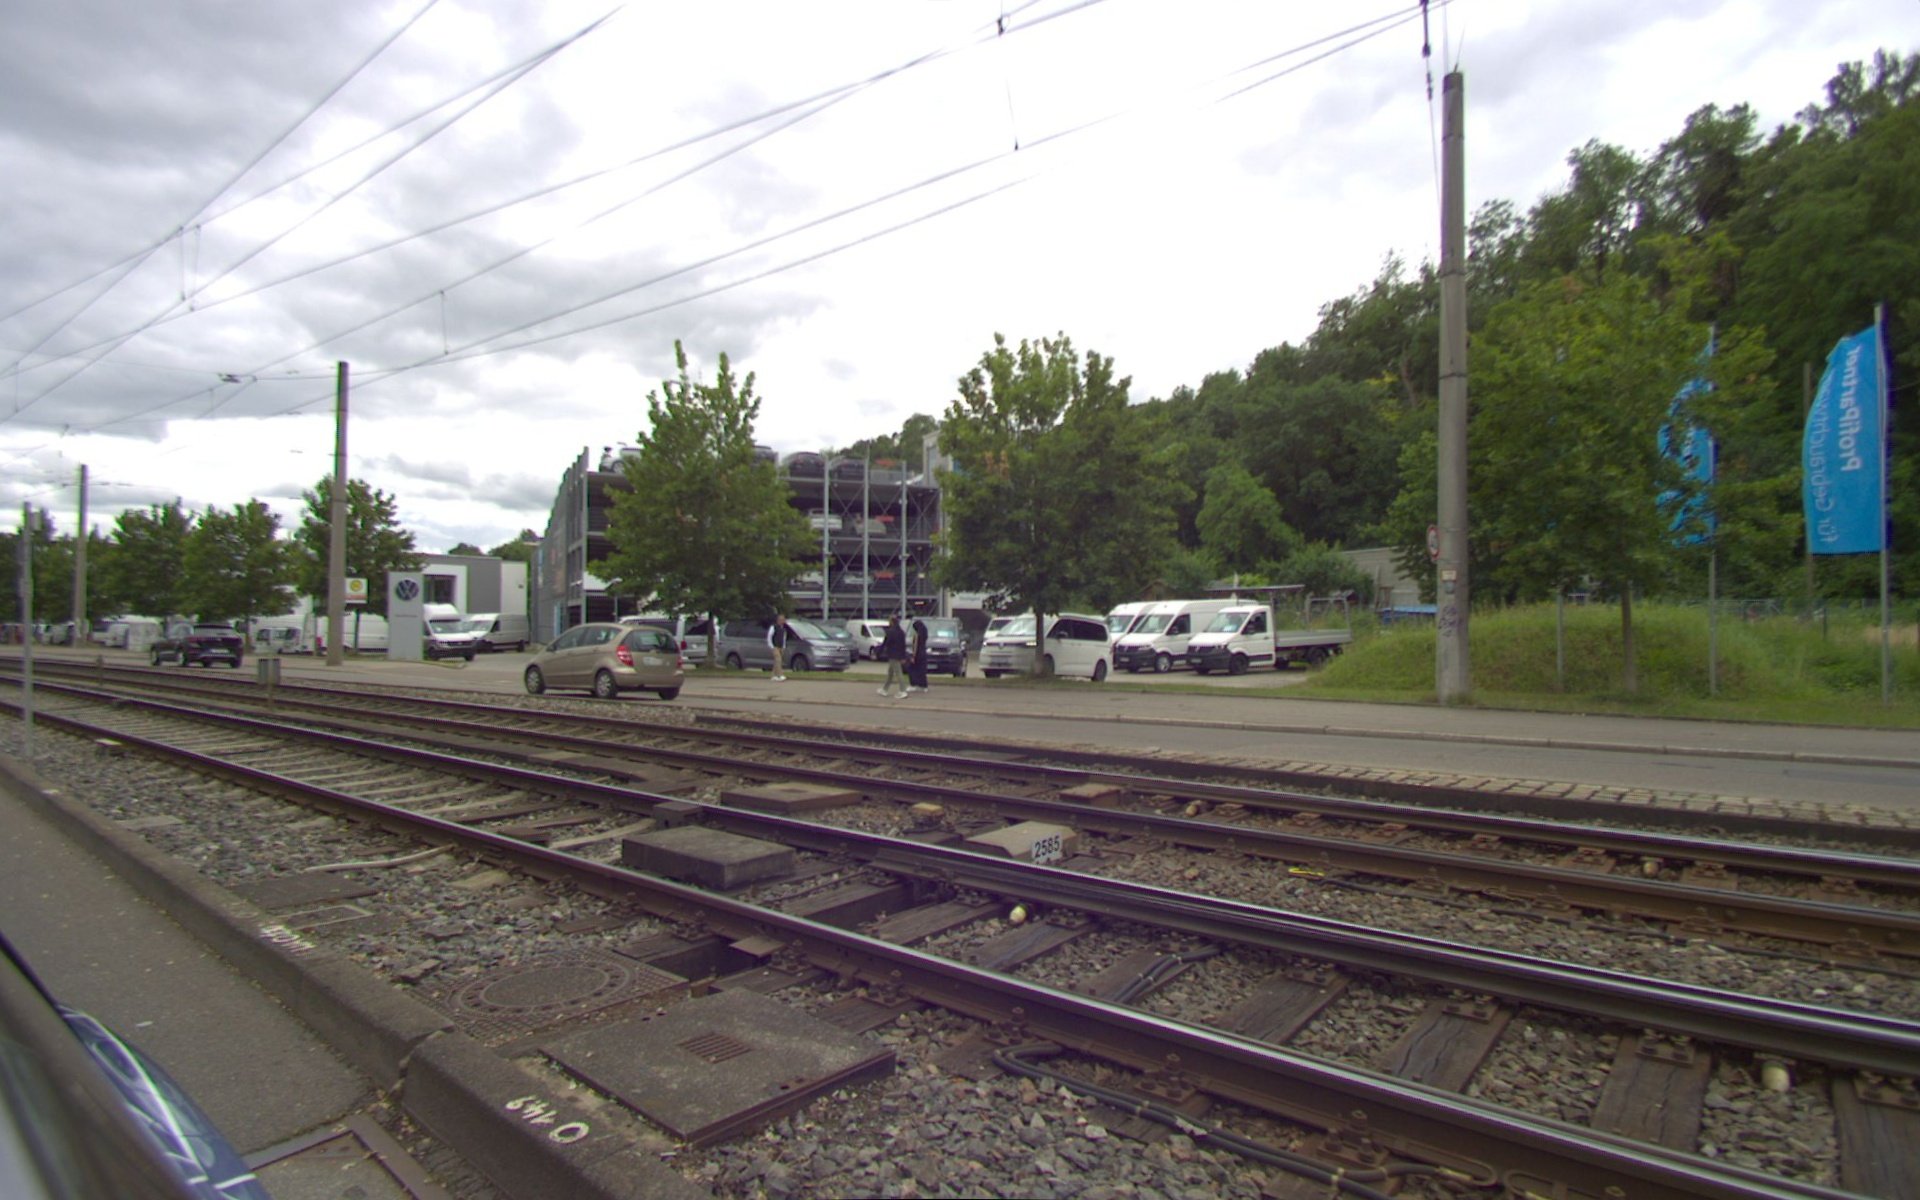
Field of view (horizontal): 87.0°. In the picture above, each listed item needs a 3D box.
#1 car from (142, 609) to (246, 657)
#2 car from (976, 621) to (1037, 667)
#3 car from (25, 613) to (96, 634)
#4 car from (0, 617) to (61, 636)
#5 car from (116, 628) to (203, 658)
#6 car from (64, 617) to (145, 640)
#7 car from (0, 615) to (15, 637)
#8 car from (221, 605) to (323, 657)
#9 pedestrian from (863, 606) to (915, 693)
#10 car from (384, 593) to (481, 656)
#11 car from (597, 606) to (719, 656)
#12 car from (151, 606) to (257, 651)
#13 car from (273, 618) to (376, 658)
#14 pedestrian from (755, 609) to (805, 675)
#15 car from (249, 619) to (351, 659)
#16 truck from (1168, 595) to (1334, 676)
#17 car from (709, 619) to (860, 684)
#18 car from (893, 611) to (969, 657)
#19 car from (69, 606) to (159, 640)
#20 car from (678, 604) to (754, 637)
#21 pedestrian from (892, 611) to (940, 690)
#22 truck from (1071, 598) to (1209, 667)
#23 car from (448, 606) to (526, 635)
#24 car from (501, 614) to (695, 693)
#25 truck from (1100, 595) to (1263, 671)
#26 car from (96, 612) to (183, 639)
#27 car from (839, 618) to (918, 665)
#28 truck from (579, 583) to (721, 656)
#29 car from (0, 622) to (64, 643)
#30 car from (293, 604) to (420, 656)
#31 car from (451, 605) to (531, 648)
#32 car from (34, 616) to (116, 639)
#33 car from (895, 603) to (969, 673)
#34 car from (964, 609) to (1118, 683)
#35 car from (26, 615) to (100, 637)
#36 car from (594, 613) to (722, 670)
[{"bbox_3d":[-27.002,1.188,35.634,4.247,1.544,1.672,-2,-5,36],"label":"car"},{"bbox_3d":[2.302,2.078,48.898,1.982,2.029,4.256,-2,-2,16],"label":"car"},{"bbox_3d":[-71.522,1.866,80.508,1.996,1.630,3.951,-2,-2,36],"label":"car"},{"bbox_3d":[-79.536,2.271,86.206,2.059,1.630,4.140,-2,-2,36],"label":"car"},{"bbox_3d":[-54.878,2.929,69.437,2.000,1.962,4.327,-2,-2,36],"label":"car"},{"bbox_3d":[-64.764,2.154,76.638,2.000,1.699,4.327,-2,-2,36],"label":"car"},{"bbox_3d":[-89.759,2.368,91.836,5.621,2.023,2.148,1,-3,-37],"label":"car"},{"bbox_3d":[-38.975,1.762,57.446,1.997,2.840,4.333,-2,-2,31],"label":"car"},{"bbox_3d":[-1.539,1.064,22.026,0.854,1.827,0.670,-2,-1,38],"label":"pedestrian"},{"bbox_3d":[-27.084,1.292,51.856,5.927,3.042,2.088,-2,-2,37],"label":"car"},{"bbox_3d":[-12.773,1.302,42.897,4.649,2.029,2.006,1,-2,-28],"label":"car"},{"bbox_3d":[-47.487,1.769,63.671,2.107,2.719,4.929,-2,-2,31],"label":"car"},{"bbox_3d":[-34.475,2.044,55.039,1.997,2.121,4.333,-2,-2,31],"label":"car"},{"bbox_3d":[-4.759,1.101,26.708,1.037,1.668,0.713,-2,0,28],"label":"pedestrian"},{"bbox_3d":[-36.692,2.159,56.351,1.997,2.121,4.333,-2,-2,31],"label":"car"},{"bbox_3d":[9.970,1.196,34.739,4.984,2.608,2.476,0,-2,-24],"label":"truck"},{"bbox_3d":[-5.986,1.717,34.258,5.116,2.029,1.977,-2,-2,34],"label":"car"},{"bbox_3d":[-1.431,1.592,47.600,1.965,2.028,4.482,1,-2,-25],"label":"car"},{"bbox_3d":[-59.303,1.612,70.997,2.121,2.329,4.456,-2,-2,36],"label":"car"},{"bbox_3d":[-14.807,1.291,61.449,4.450,1.918,1.978,-2,-2,33],"label":"car"},{"bbox_3d":[-0.991,1.128,22.890,0.854,1.726,0.622,-2,-1,38],"label":"pedestrian"},{"bbox_3d":[7.211,1.279,40.470,4.985,2.608,2.476,1,-2,-30],"label":"truck"},{"bbox_3d":[-34.441,1.505,73.782,1.997,2.029,4.798,-2,-2,37],"label":"car"},{"bbox_3d":[-7.840,1.170,21.776,4.248,1.544,1.873,-2,-5,37],"label":"car"},{"bbox_3d":[8.239,1.206,37.475,5.679,2.608,2.476,1,-2,-30],"label":"truck"},{"bbox_3d":[-56.964,1.778,70.359,2.000,1.859,4.327,-2,-2,36],"label":"car"},{"bbox_3d":[-3.797,1.896,46.316,1.965,2.028,4.481,1,-2,-28],"label":"car"},{"bbox_3d":[-13.944,0.905,45.583,5.835,3.108,2.126,1,-2,-26],"label":"truck"},{"bbox_3d":[-77.634,2.698,84.446,2.044,1.677,3.951,-2,-2,36],"label":"car"},{"bbox_3d":[-32.147,1.580,54.065,2.241,2.622,5.425,-2,-2,35],"label":"car"},{"bbox_3d":[-30.167,1.716,65.331,1.979,2.622,5.942,-1,-2,5],"label":"car"},{"bbox_3d":[-67.404,2.090,77.099,1.998,1.630,4.330,-2,-2,33],"label":"car"},{"bbox_3d":[-0.899,1.196,31.960,2.135,2.029,5.074,0,-2,-2],"label":"car"},{"bbox_3d":[2.414,1.243,28.760,2.161,1.902,5.013,-2,-2,34],"label":"car"},{"bbox_3d":[-69.427,1.994,78.379,1.996,1.630,3.951,-2,-2,36],"label":"car"},{"bbox_3d":[-11.377,1.550,38.030,4.905,2.029,1.977,-2,-2,34],"label":"car"}]
